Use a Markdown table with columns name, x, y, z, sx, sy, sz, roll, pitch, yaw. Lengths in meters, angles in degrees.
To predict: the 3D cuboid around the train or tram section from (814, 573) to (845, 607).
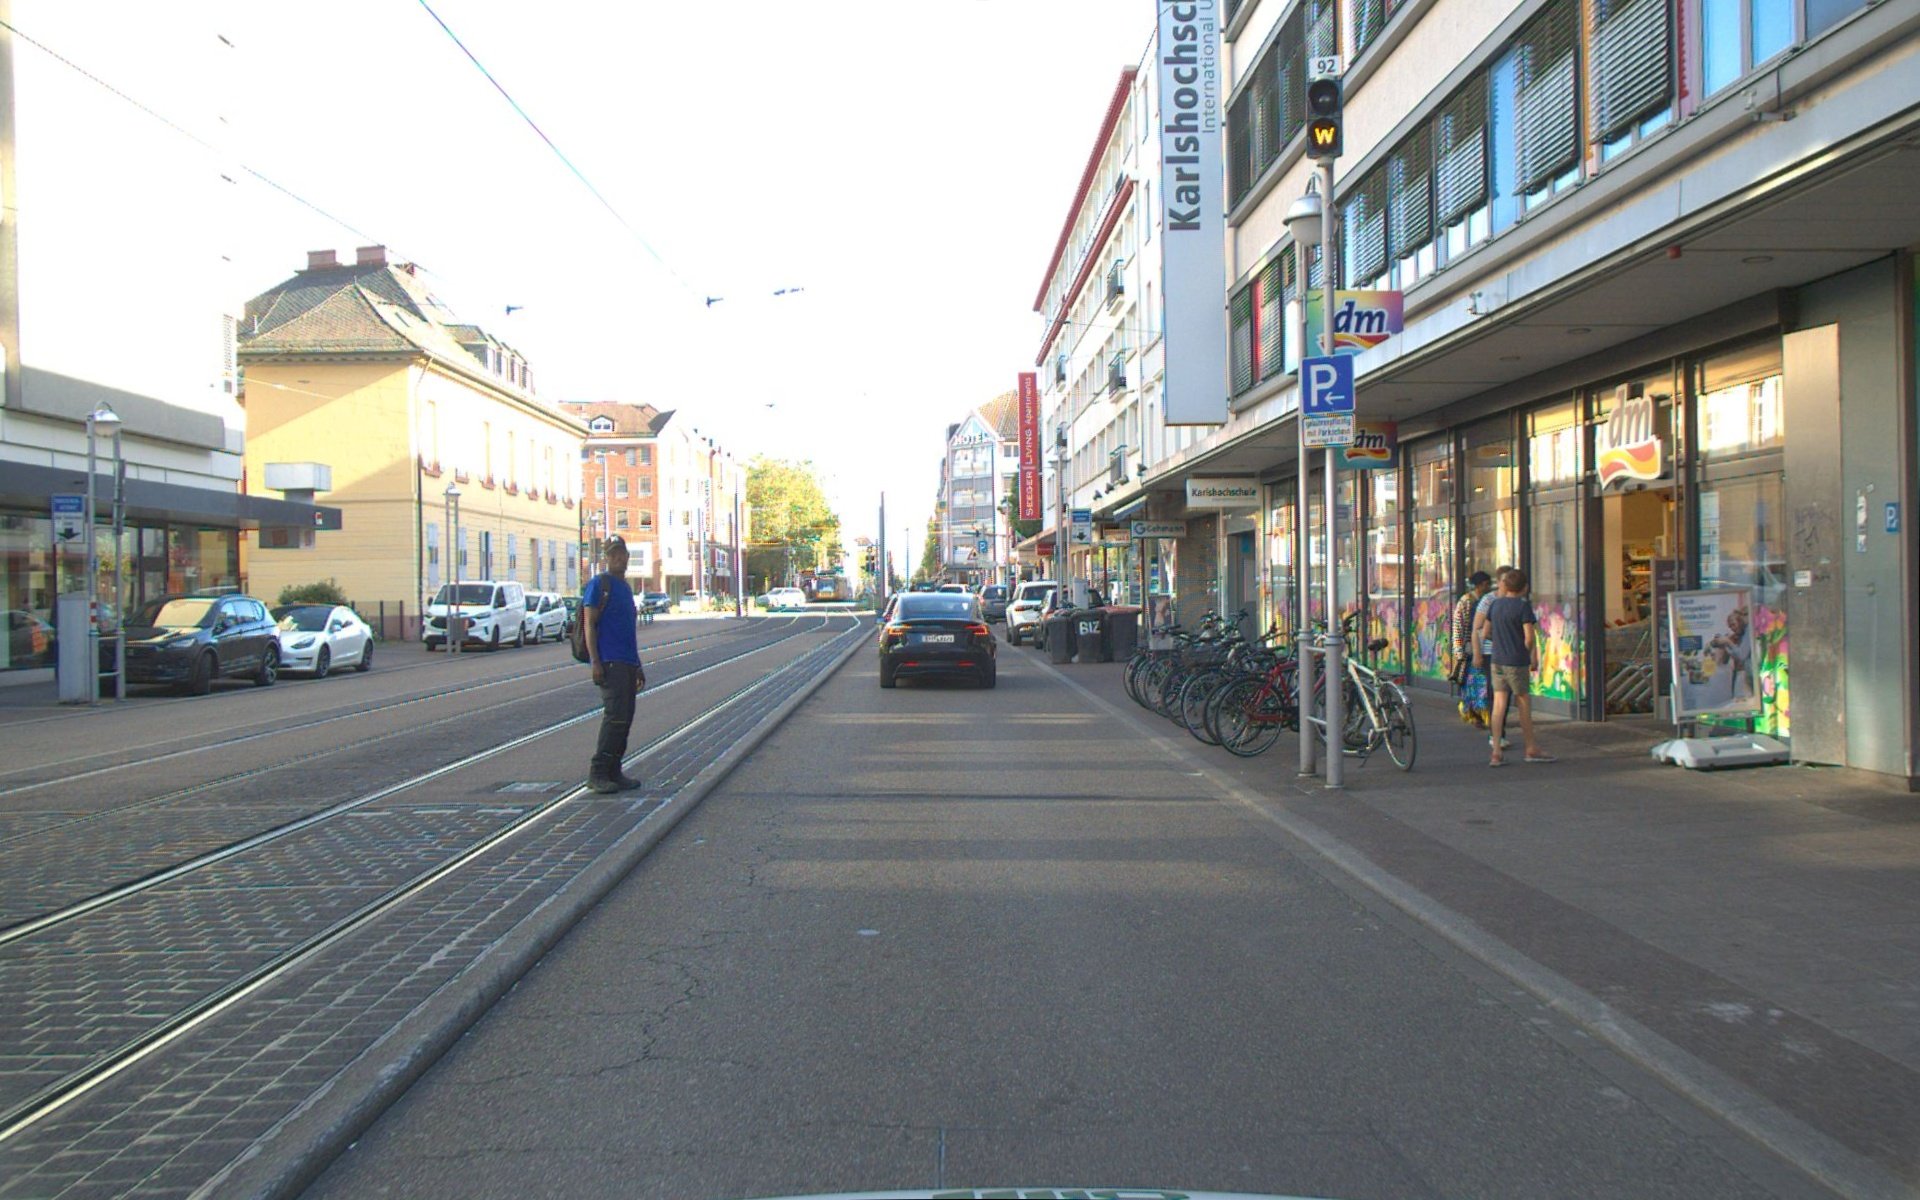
| name | x | y | z | sx | sy | sz | roll | pitch | yaw |
| --- | --- | --- | --- | --- | --- | --- | --- | --- | --- |
| train or tram section | -15.151 | -1.092 | 192.995 | 2.620 | 3.780 | 14.189 | 1 | 0 | -1 |

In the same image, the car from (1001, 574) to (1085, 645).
| name | x | y | z | sx | sy | sz | roll | pitch | yaw |
| --- | --- | --- | --- | --- | --- | --- | --- | --- | --- |
| car | 2.209 | 0.250 | 45.417 | 1.812 | 1.754 | 5.191 | -3 | 0 | -2 |

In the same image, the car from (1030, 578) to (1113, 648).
| name | x | y | z | sx | sy | sz | roll | pitch | yaw |
| --- | --- | --- | --- | --- | --- | --- | --- | --- | --- |
| car | 2.661 | 0.297 | 40.236 | 1.582 | 1.555 | 4.069 | -2 | 0 | -2 |

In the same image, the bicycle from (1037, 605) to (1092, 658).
| name | x | y | z | sx | sy | sz | roll | pitch | yaw |
| --- | --- | --- | --- | --- | --- | --- | --- | --- | --- |
| bicycle | 2.273 | 0.677 | 36.076 | 1.108 | 1.098 | 0.319 | -3 | 0 | -3 |

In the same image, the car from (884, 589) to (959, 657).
| name | x | y | z | sx | sy | sz | roll | pitch | yaw |
| --- | --- | --- | --- | --- | --- | --- | --- | --- | --- |
| car | -0.858 | 0.491 | 38.105 | 1.620 | 1.443 | 4.000 | 1 | 1 | -1 |

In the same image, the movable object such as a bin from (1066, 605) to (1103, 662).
| name | x | y | z | sx | sy | sz | roll | pitch | yaw |
| --- | --- | --- | --- | --- | --- | --- | --- | --- | --- |
| movable object such as a bin | 2.511 | 0.661 | 33.368 | 0.676 | 1.108 | 0.686 | -2 | 0 | 2 |

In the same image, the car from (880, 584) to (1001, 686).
| name | x | y | z | sx | sy | sz | roll | pitch | yaw |
| --- | --- | --- | --- | --- | --- | --- | --- | --- | --- |
| car | -0.368 | 0.525 | 26.581 | 1.812 | 1.510 | 3.785 | 0 | 0 | -3 |

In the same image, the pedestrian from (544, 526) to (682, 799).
| name | x | y | z | sx | sy | sz | roll | pitch | yaw |
| --- | --- | --- | --- | --- | --- | --- | --- | --- | --- |
| pedestrian | -2.486 | 0.438 | 11.930 | 0.788 | 1.869 | 0.746 | -3 | 0 | -3 |

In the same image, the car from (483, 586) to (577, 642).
| name | x | y | z | sx | sy | sz | roll | pitch | yaw |
| --- | --- | --- | --- | --- | --- | --- | --- | --- | --- |
| car | -14.051 | 0.436 | 54.315 | 1.770 | 1.715 | 4.649 | 1 | 0 | 1 |

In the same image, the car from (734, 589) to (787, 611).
| name | x | y | z | sx | sy | sz | roll | pitch | yaw |
| --- | --- | --- | --- | --- | --- | --- | --- | --- | --- |
| car | -16.401 | 0.002 | 136.031 | 3.934 | 1.707 | 1.985 | -2 | 0 | -24 |

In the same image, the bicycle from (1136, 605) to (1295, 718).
| name | x | y | z | sx | sy | sz | roll | pitch | yaw |
| --- | --- | --- | --- | --- | --- | --- | --- | --- | --- |
| bicycle | 3.002 | 0.716 | 19.507 | 1.751 | 1.238 | 0.587 | -2 | 0 | -2 |

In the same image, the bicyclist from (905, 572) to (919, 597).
| name | x | y | z | sx | sy | sz | roll | pitch | yaw |
| --- | --- | --- | --- | --- | --- | --- | --- | --- | --- |
| bicyclist | -2.957 | -0.954 | 101.848 | 0.821 | 1.526 | 0.559 | 1 | 0 | -9 |

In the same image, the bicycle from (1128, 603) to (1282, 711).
| name | x | y | z | sx | sy | sz | roll | pitch | yaw |
| --- | --- | --- | --- | --- | --- | --- | --- | --- | --- |
| bicycle | 3.009 | 0.688 | 20.394 | 1.751 | 1.238 | 0.669 | -2 | 0 | -2 |

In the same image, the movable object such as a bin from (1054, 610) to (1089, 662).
| name | x | y | z | sx | sy | sz | roll | pitch | yaw |
| --- | --- | --- | --- | --- | --- | --- | --- | --- | --- |
| movable object such as a bin | 2.298 | 0.734 | 34.054 | 0.672 | 1.032 | 0.508 | -2 | 0 | 1 |

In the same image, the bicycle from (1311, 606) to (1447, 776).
| name | x | y | z | sx | sy | sz | roll | pitch | yaw |
| --- | --- | --- | --- | --- | --- | --- | --- | --- | --- |
| bicycle | 3.407 | 0.704 | 13.563 | 0.570 | 1.279 | 1.601 | -3 | 0 | -3 |

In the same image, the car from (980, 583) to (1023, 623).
| name | x | y | z | sx | sy | sz | roll | pitch | yaw |
| --- | --- | --- | --- | --- | --- | --- | --- | --- | --- |
| car | 1.810 | 0.109 | 73.190 | 1.710 | 1.660 | 3.648 | -2 | 1 | -1 |

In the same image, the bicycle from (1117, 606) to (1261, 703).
| name | x | y | z | sx | sy | sz | roll | pitch | yaw |
| --- | --- | --- | --- | --- | --- | --- | --- | --- | --- |
| bicycle | 2.993 | 0.705 | 21.672 | 1.751 | 1.179 | 0.669 | -2 | 0 | -2 |

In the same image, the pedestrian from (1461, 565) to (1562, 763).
| name | x | y | z | sx | sy | sz | roll | pitch | yaw |
| --- | --- | --- | --- | --- | --- | --- | --- | --- | --- |
| pedestrian | 4.408 | 0.498 | 13.242 | 0.513 | 1.519 | 0.583 | -3 | 0 | -3 |

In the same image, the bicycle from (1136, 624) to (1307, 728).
| name | x | y | z | sx | sy | sz | roll | pitch | yaw |
| --- | --- | --- | --- | --- | --- | --- | --- | --- | --- |
| bicycle | 2.852 | 0.820 | 18.134 | 1.738 | 1.050 | 0.596 | -2 | 0 | -2 |

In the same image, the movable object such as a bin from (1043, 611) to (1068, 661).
| name | x | y | z | sx | sy | sz | roll | pitch | yaw |
| --- | --- | --- | --- | --- | --- | --- | --- | --- | --- |
| movable object such as a bin | 1.930 | 0.726 | 33.470 | 0.477 | 0.975 | 0.458 | -2 | 0 | 2 |

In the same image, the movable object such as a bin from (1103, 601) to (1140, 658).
| name | x | y | z | sx | sy | sz | roll | pitch | yaw |
| --- | --- | --- | --- | --- | --- | --- | --- | --- | --- |
| movable object such as a bin | 3.250 | 0.595 | 33.350 | 0.676 | 1.108 | 0.666 | -2 | 0 | 2 |

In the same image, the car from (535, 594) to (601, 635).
| name | x | y | z | sx | sy | sz | roll | pitch | yaw |
| --- | --- | --- | --- | --- | --- | --- | --- | --- | --- |
| car | -14.211 | 0.513 | 60.149 | 1.582 | 1.425 | 3.718 | 1 | 0 | -2 |

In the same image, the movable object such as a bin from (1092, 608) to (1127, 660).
| name | x | y | z | sx | sy | sz | roll | pitch | yaw |
| --- | --- | --- | --- | --- | --- | --- | --- | --- | --- |
| movable object such as a bin | 3.066 | 0.693 | 34.050 | 0.644 | 1.032 | 0.636 | -2 | 0 | 1 |

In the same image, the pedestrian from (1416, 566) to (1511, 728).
| name | x | y | z | sx | sy | sz | roll | pitch | yaw |
| --- | --- | --- | --- | --- | --- | --- | --- | --- | --- |
| pedestrian | 4.913 | 0.452 | 16.140 | 0.576 | 1.511 | 0.590 | -3 | 0 | -33 |

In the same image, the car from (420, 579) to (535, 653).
| name | x | y | z | sx | sy | sz | roll | pitch | yaw |
| --- | --- | --- | --- | --- | --- | --- | --- | --- | --- |
| car | -13.949 | 0.437 | 48.129 | 1.953 | 2.009 | 5.094 | 1 | 0 | -2 |

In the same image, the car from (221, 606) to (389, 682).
| name | x | y | z | sx | sy | sz | roll | pitch | yaw |
| --- | --- | --- | --- | --- | --- | --- | --- | --- | --- |
| car | -13.660 | 0.868 | 34.811 | 1.850 | 1.446 | 4.654 | 1 | 0 | -3 |

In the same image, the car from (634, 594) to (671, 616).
| name | x | y | z | sx | sy | sz | roll | pitch | yaw |
| --- | --- | --- | --- | --- | --- | --- | --- | --- | --- |
| car | -21.927 | 0.359 | 118.146 | 1.864 | 1.489 | 4.000 | 1 | 0 | 0 |

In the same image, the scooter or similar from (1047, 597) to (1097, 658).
| name | x | y | z | sx | sy | sz | roll | pitch | yaw |
| --- | --- | --- | --- | --- | --- | --- | --- | --- | --- |
| scooter or similar | 2.401 | 0.586 | 35.447 | 0.973 | 1.253 | 0.319 | -3 | 0 | -3 |

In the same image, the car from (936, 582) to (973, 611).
| name | x | y | z | sx | sy | sz | roll | pitch | yaw |
| --- | --- | --- | --- | --- | --- | --- | --- | --- | --- |
| car | -0.331 | -0.173 | 91.651 | 1.748 | 1.545 | 4.214 | 1 | 0 | -4 |

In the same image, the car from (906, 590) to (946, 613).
| name | x | y | z | sx | sy | sz | roll | pitch | yaw |
| --- | --- | --- | --- | --- | --- | --- | --- | --- | --- |
| car | -2.316 | 0.103 | 112.089 | 1.793 | 1.545 | 4.203 | 1 | 0 | -14 |

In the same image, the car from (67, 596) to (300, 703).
| name | x | y | z | sx | sy | sz | roll | pitch | yaw |
| --- | --- | --- | --- | --- | --- | --- | --- | --- | --- |
| car | -13.503 | 0.802 | 29.099 | 1.938 | 1.708 | 4.654 | 1 | 0 | -1 |

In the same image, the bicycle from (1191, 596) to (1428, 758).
| name | x | y | z | sx | sy | sz | roll | pitch | yaw |
| --- | --- | --- | --- | --- | --- | --- | --- | --- | --- |
| bicycle | 3.176 | 0.677 | 15.036 | 2.000 | 1.296 | 0.523 | -4 | 1 | -12 |

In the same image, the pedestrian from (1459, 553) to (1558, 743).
| name | x | y | z | sx | sy | sz | roll | pitch | yaw |
| --- | --- | --- | --- | --- | --- | --- | --- | --- | --- |
| pedestrian | 4.822 | 0.413 | 14.572 | 0.570 | 1.613 | 0.597 | -3 | 0 | -3 |

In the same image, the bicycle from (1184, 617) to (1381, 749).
| name | x | y | z | sx | sy | sz | roll | pitch | yaw |
| --- | --- | --- | --- | --- | --- | --- | --- | --- | --- |
| bicycle | 3.055 | 0.773 | 15.707 | 1.739 | 1.150 | 0.478 | -2 | 0 | -7 |

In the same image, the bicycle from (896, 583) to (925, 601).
| name | x | y | z | sx | sy | sz | roll | pitch | yaw |
| --- | --- | --- | --- | --- | --- | --- | --- | --- | --- |
| bicycle | -3.038 | -0.481 | 101.804 | 1.696 | 1.107 | 0.677 | 1 | 0 | -9 |
